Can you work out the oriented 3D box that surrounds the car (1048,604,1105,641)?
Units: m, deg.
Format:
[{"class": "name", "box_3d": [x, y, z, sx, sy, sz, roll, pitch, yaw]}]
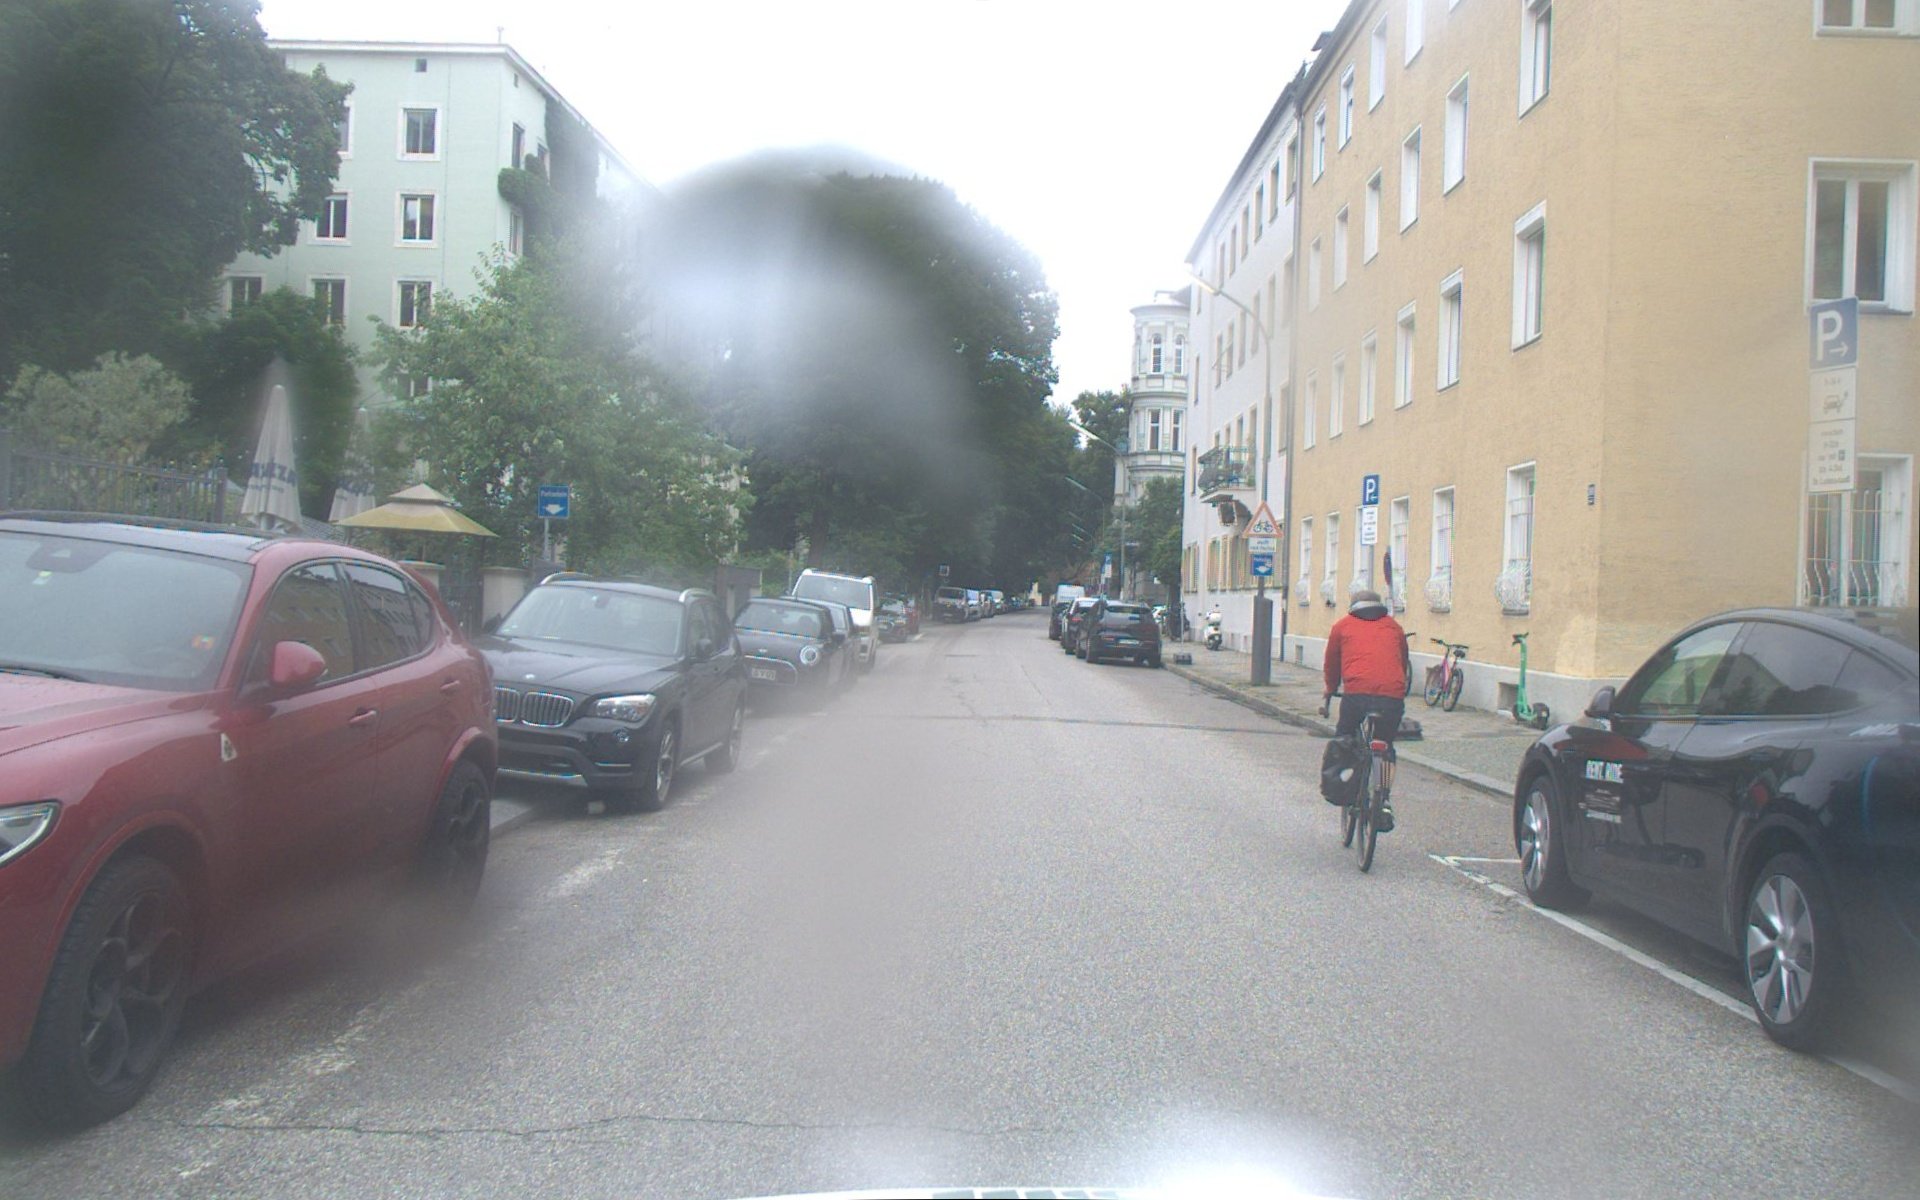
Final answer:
[{"class": "car", "box_3d": [4.490, 0.858, 64.382, 1.958, 1.342, 4.596, 0, 0, 1]}]

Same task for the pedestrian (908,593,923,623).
[{"class": "pedestrian", "box_3d": [-2.422, 0.451, 89.422, 0.699, 1.575, 0.752, 4, 0, -2]}]

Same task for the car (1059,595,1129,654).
[{"class": "car", "box_3d": [4.384, 0.782, 54.882, 1.953, 1.736, 4.535, 4, 0, 1]}]

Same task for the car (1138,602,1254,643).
[{"class": "car", "box_3d": [10.380, 0.987, 72.945, 4.805, 1.558, 1.914, 2, 2, 1]}]

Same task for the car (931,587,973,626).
[{"class": "car", "box_3d": [-0.422, 0.348, 93.686, 2.202, 1.990, 5.454, 3, 0, 1]}]

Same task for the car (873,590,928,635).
[{"class": "car", "box_3d": [-2.335, 0.466, 65.559, 1.848, 1.618, 4.528, 3, 0, 1]}]

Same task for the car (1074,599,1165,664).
[{"class": "car", "box_3d": [4.185, 0.795, 44.142, 1.822, 1.604, 4.898, 1, 0, -2]}]

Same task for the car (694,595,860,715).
[{"class": "car", "box_3d": [-2.554, 0.729, 23.977, 1.820, 1.571, 4.188, 0, 0, 2]}]

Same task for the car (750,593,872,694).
[{"class": "car", "box_3d": [-2.527, 0.694, 29.067, 1.849, 1.570, 4.694, 2, 0, -2]}]

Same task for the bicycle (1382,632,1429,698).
[{"class": "bicycle", "box_3d": [7.904, 1.142, 29.379, 0.335, 1.101, 1.813, 0, 0, 0]}]

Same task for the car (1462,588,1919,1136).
[{"class": "car", "box_3d": [3.991, 0.856, 7.530, 1.952, 1.659, 5.101, 3, 0, 2]}]

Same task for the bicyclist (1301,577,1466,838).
[{"class": "bicyclist", "box_3d": [2.615, 0.639, 10.318, 0.739, 1.509, 0.982, 3, -1, 2]}]

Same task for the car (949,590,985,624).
[{"class": "car", "box_3d": [0.492, 0.438, 105.379, 2.139, 1.990, 5.167, 3, 0, 1]}]

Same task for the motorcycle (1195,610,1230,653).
[{"class": "motorcycle", "box_3d": [7.902, 0.976, 51.781, 0.717, 1.260, 2.007, 3, 0, 0]}]

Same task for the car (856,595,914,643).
[{"class": "car", "box_3d": [-2.489, 0.610, 55.822, 1.771, 1.426, 4.922, 3, 0, -2]}]

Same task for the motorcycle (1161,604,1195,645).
[{"class": "motorcycle", "box_3d": [7.972, 0.879, 60.573, 0.839, 1.458, 2.706, 2, 0, 0]}]

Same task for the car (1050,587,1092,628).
[{"class": "car", "box_3d": [6.225, 0.423, 93.445, 2.158, 2.247, 4.856, 1, 0, 2]}]

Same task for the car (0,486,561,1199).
[{"class": "car", "box_3d": [-3.110, 0.545, 6.190, 1.863, 1.721, 4.809, 3, 0, 1]}]

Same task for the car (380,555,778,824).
[{"class": "car", "box_3d": [-2.733, 0.582, 13.104, 1.807, 1.635, 4.744, 3, 0, 2]}]

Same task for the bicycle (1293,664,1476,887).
[{"class": "bicycle", "box_3d": [2.619, 1.036, 10.412, 0.658, 1.161, 2.011, 3, 0, 2]}]

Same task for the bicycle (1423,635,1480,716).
[{"class": "bicycle", "box_3d": [7.568, 1.150, 25.519, 0.335, 1.155, 1.759, 2, 0, 0]}]

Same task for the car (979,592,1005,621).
[{"class": "car", "box_3d": [2.676, 0.558, 138.329, 1.961, 2.224, 4.697, 3, 0, 3]}]

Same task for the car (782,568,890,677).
[{"class": "car", "box_3d": [-2.536, 0.441, 35.042, 1.927, 2.025, 5.150, 3, 0, -2]}]

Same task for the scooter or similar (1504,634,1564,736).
[{"class": "scooter or similar", "box_3d": [7.532, 1.092, 21.736, 0.335, 1.277, 1.309, 0, 0, 0]}]

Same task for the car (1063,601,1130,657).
[{"class": "car", "box_3d": [4.044, 0.828, 49.582, 1.800, 1.558, 4.417, 1, 0, 2]}]
